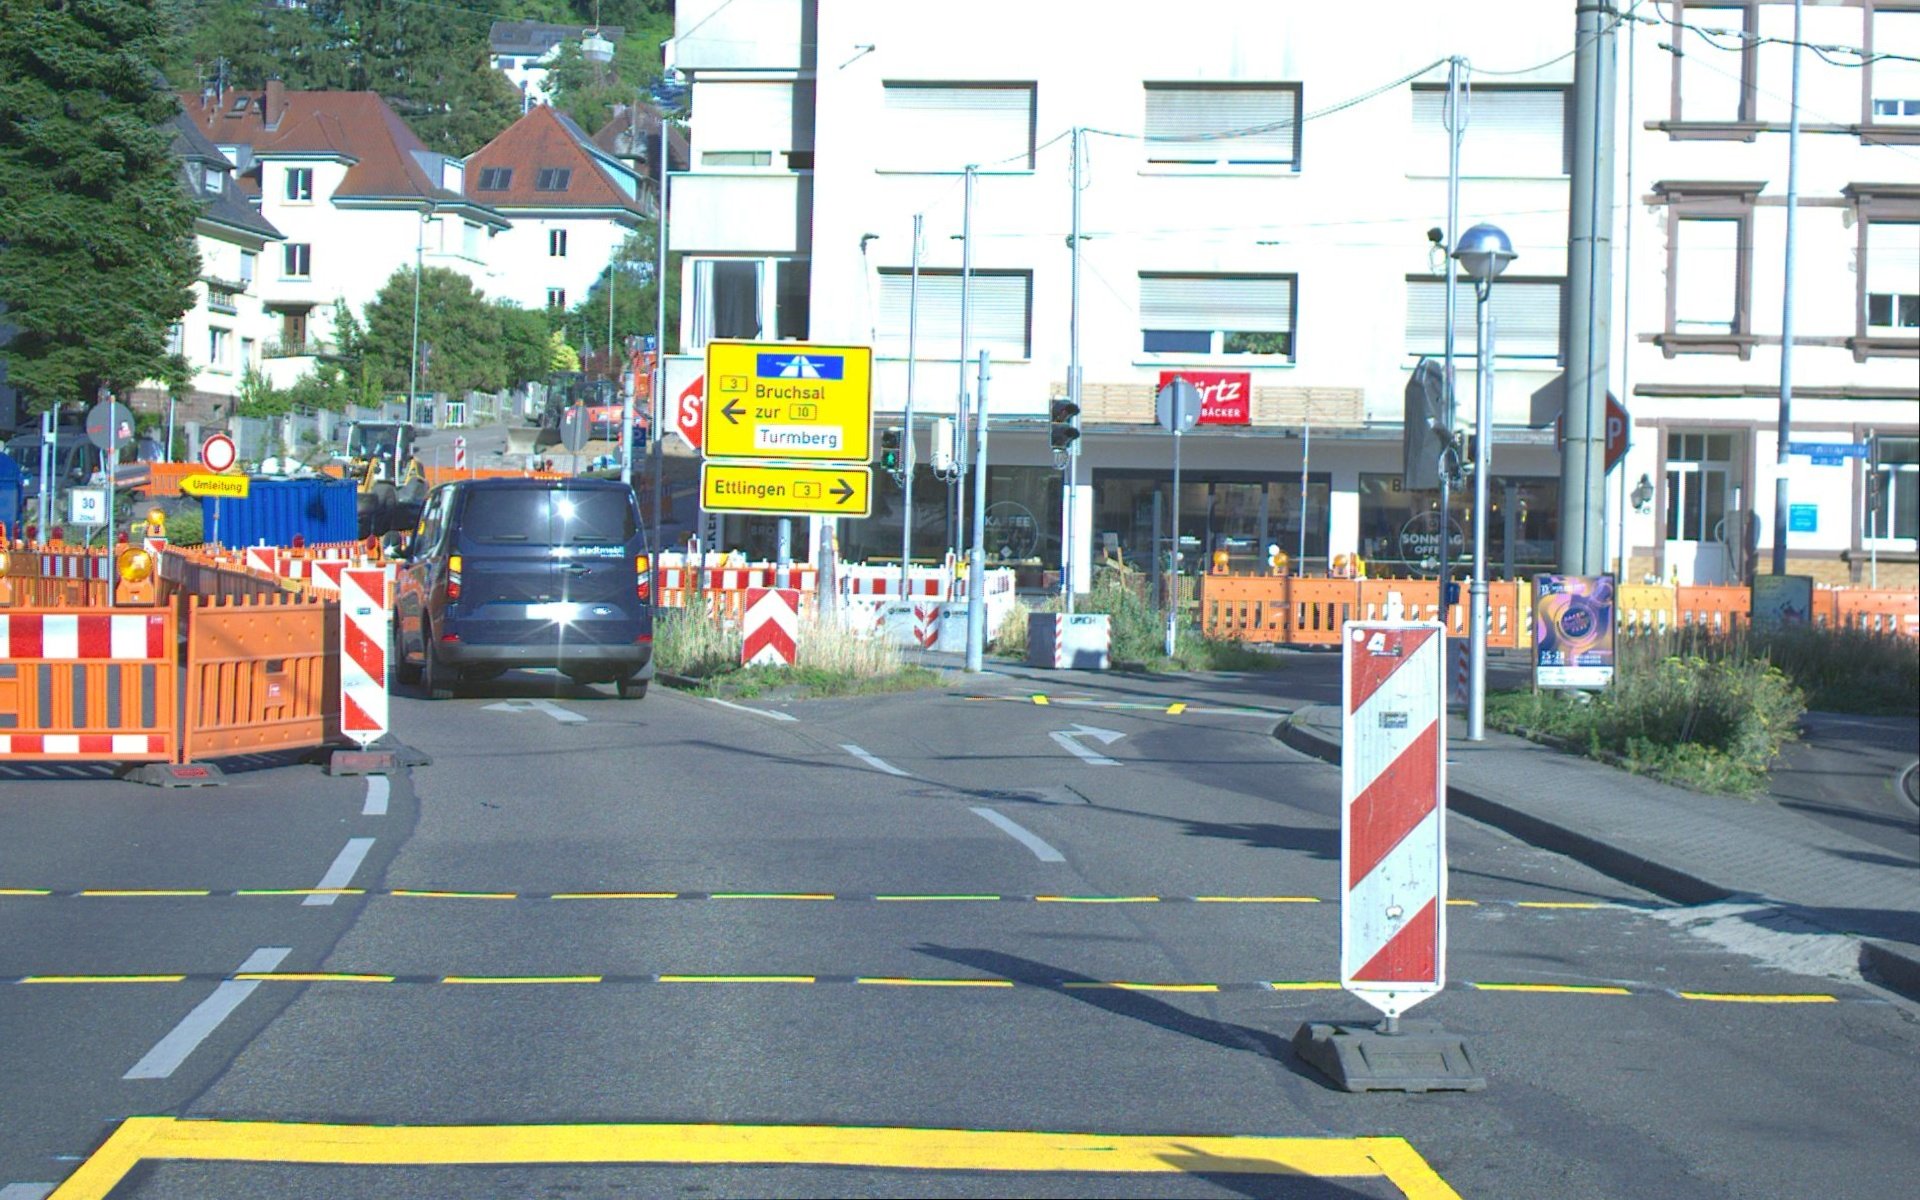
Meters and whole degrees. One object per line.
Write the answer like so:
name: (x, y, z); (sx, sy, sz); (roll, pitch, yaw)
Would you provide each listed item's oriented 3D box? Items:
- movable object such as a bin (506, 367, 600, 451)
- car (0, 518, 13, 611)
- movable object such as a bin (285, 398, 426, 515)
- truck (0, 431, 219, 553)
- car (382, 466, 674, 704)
movable object such as a bin: (-14.040, -6.567, 118.784); (2.191, 2.681, 3.999); (2, 1, 9)
car: (-16.501, -0.584, 52.382); (3.995, 1.405, 1.796); (2, 1, 34)
movable object such as a bin: (-14.780, -3.490, 84.288); (2.191, 2.681, 3.999); (2, 1, 9)
truck: (-18.747, -2.249, 73.650); (2.357, 2.407, 9.148); (2, 1, 10)
car: (-4.136, -0.196, 32.174); (2.061, 2.007, 5.002); (2, 1, -14)
